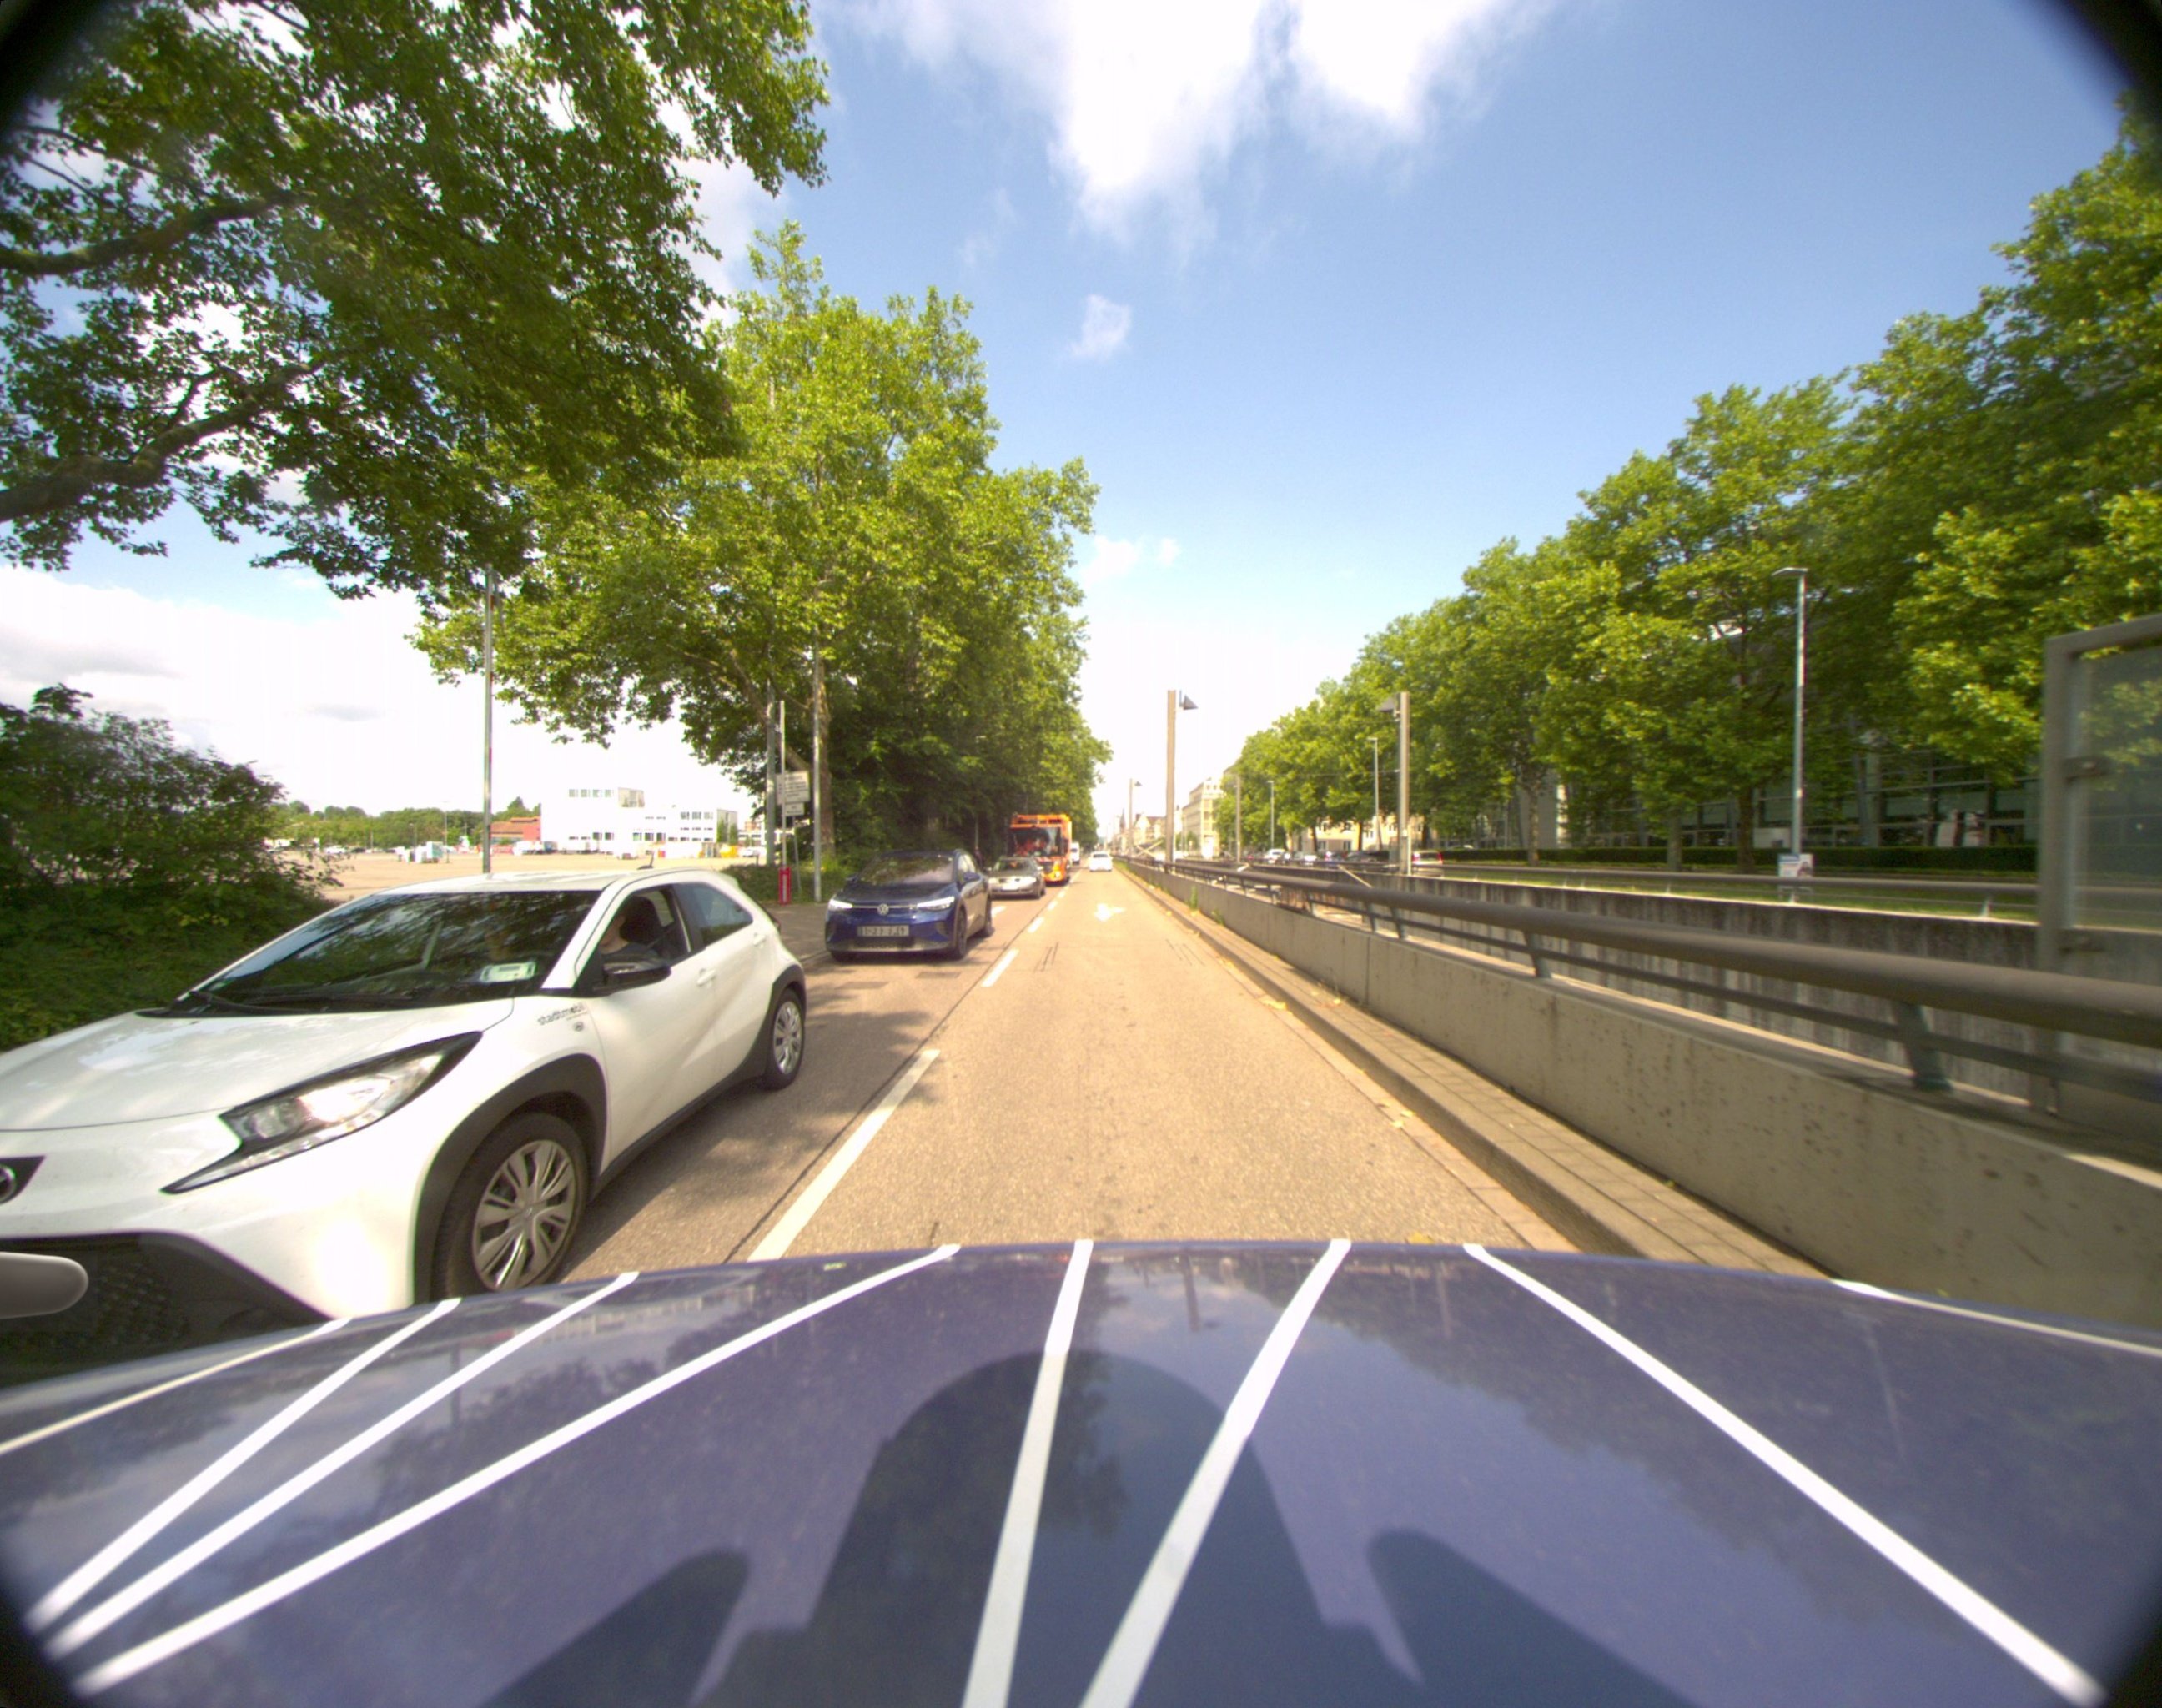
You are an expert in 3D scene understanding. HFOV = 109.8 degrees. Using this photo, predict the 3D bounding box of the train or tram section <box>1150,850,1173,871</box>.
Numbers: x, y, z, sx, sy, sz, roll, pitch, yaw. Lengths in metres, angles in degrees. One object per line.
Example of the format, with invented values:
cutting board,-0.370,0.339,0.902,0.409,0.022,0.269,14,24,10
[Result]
train or tram section,9.854,0.753,93.147,2.216,2.444,6.249,-2,1,2

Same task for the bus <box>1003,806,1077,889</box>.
bus,-1.769,-0.358,37.805,2.744,3.446,10.394,-2,1,2

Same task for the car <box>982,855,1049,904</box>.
car,-2.140,0.804,25.888,1.771,1.455,4.000,-2,1,2

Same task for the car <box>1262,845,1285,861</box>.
car,16.673,-0.083,65.914,1.309,1.368,3.185,0,1,1

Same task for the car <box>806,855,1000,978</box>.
car,-2.584,0.823,12.265,1.891,1.566,4.581,-2,0,2

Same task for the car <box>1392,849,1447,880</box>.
car,16.892,0.493,38.069,1.420,1.447,3.157,0,1,1

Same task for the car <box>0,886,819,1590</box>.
car,-2.774,0.984,3.650,1.749,1.470,3.798,-2,0,-1

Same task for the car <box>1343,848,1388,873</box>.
car,16.793,0.383,44.960,1.582,1.426,3.157,0,1,1

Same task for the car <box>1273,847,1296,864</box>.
car,16.607,0.082,62.077,1.167,1.368,2.745,0,1,1

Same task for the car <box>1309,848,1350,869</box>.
car,16.939,0.311,52.003,1.579,1.368,3.896,0,1,1

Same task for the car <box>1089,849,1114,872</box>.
car,1.555,0.473,58.495,1.737,1.478,3.601,-5,2,0

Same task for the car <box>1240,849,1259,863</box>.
car,17.059,0.187,76.890,1.309,1.368,3.185,0,1,1

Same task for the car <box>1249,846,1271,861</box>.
car,16.789,-0.043,71.335,1.309,1.368,3.185,0,1,1

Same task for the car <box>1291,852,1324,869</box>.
car,16.800,0.465,56.473,1.611,1.198,3.127,0,1,1
